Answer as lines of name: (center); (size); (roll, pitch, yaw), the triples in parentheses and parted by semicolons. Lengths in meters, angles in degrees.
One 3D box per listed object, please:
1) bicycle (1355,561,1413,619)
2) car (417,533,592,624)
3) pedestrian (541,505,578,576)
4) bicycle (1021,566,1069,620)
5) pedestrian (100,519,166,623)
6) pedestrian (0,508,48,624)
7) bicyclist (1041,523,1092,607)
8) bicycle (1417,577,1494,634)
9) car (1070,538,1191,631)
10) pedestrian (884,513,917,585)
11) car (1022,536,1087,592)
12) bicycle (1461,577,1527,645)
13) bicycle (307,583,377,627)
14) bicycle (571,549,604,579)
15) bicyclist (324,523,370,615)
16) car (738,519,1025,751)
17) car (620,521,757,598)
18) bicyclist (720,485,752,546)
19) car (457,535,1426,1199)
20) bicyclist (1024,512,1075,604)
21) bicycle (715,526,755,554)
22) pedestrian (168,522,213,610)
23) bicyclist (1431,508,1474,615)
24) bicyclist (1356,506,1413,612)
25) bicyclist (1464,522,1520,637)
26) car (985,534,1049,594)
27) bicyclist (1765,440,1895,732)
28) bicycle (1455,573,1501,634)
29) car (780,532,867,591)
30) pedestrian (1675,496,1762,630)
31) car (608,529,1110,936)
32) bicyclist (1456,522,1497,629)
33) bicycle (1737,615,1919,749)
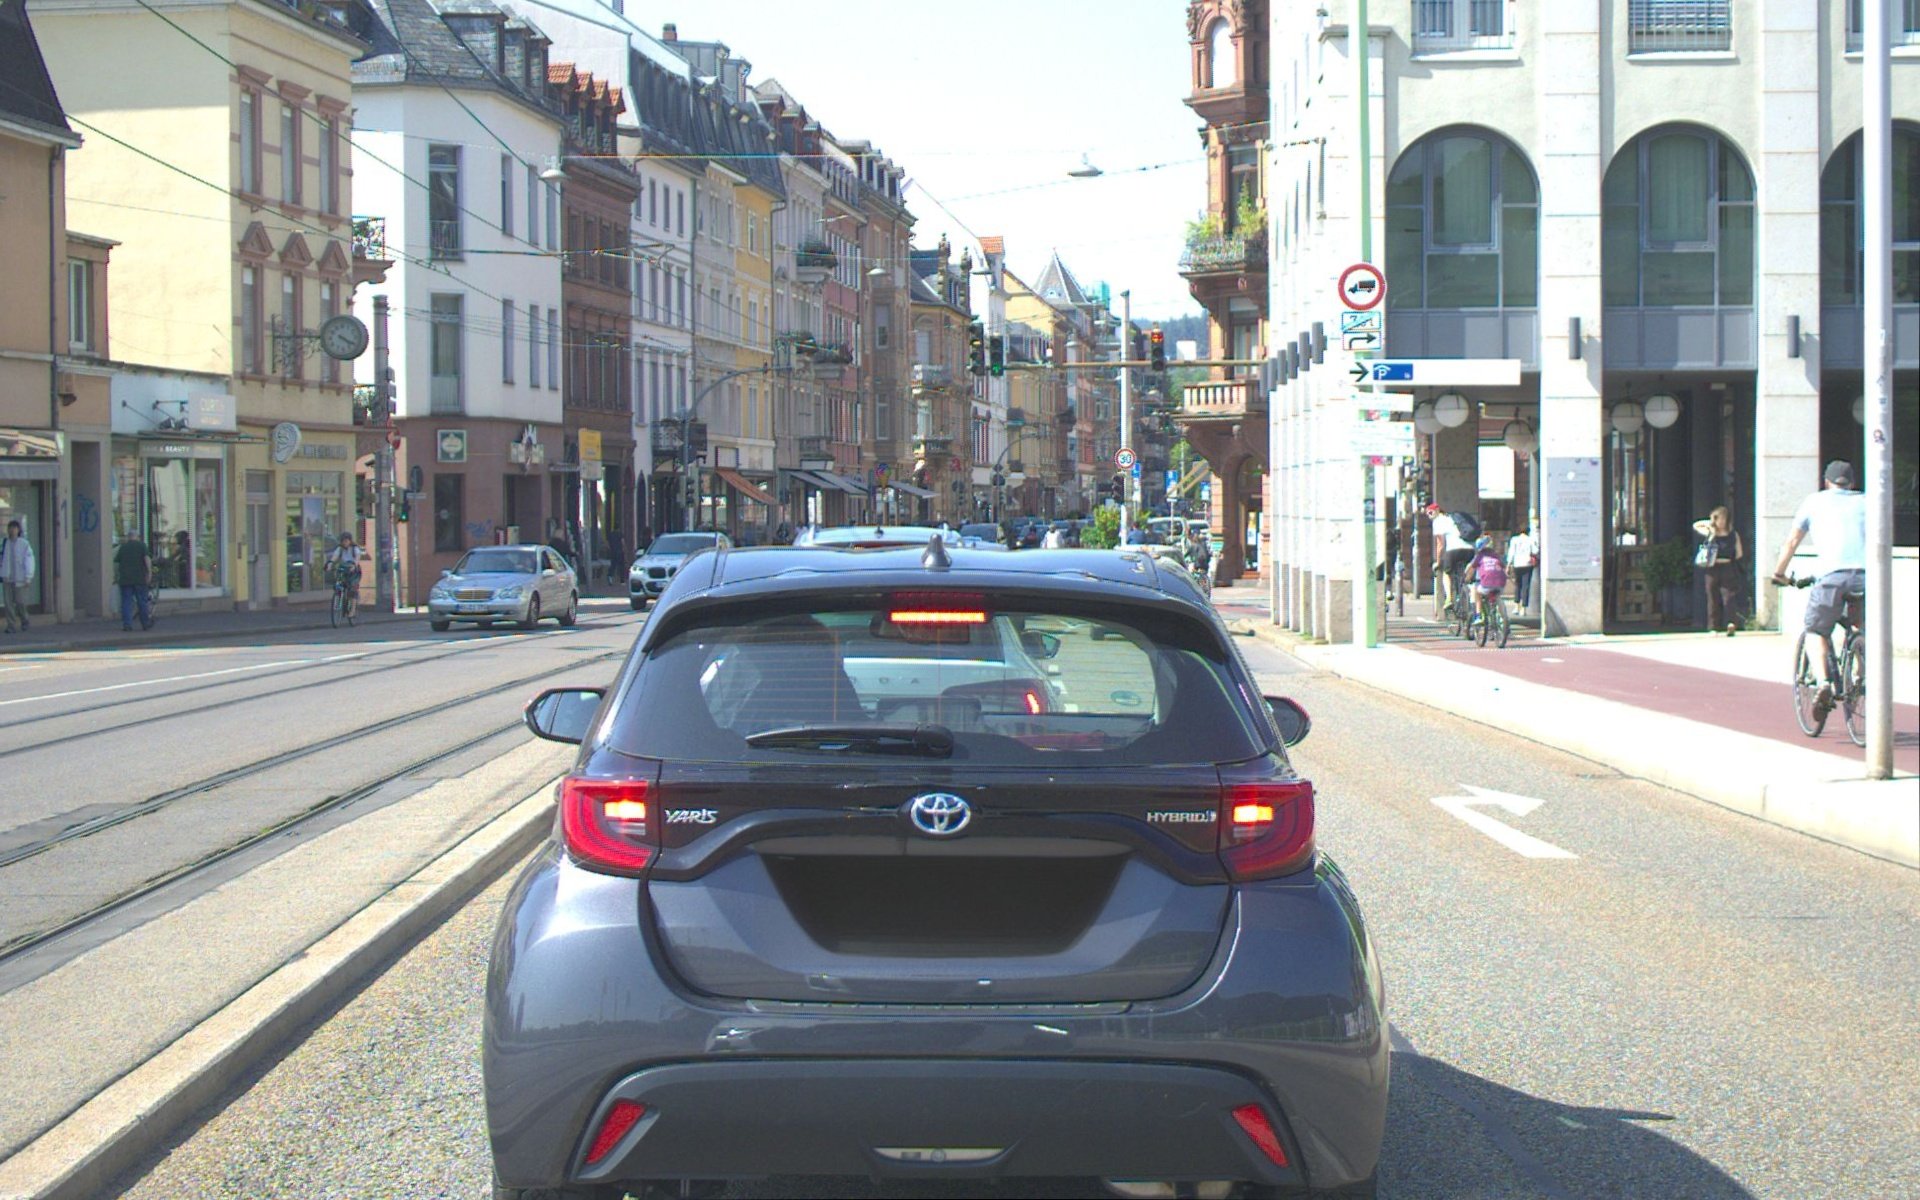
bicycle: (6.965, -0.165, 56.571); (0.704, 0.879, 1.525); (4, 1, 0)
car: (-7.597, -0.387, 57.758); (1.732, 1.455, 4.372); (0, 1, 9)
pedestrian: (-10.231, -1.527, 87.852); (0.736, 1.760, 0.787); (4, 1, 0)
bicycle: (2.435, -0.210, 98.059); (1.112, 1.415, 3.007); (4, 1, 4)
pedestrian: (-13.649, -0.479, 56.746); (0.762, 1.648, 0.711); (4, 1, 6)
pedestrian: (-14.841, -0.537, 53.965); (0.736, 1.760, 0.787); (4, 1, 0)
bicyclist: (3.315, -1.089, 106.804); (1.228, 2.520, 1.104); (4, 1, 11)
bicycle: (6.870, 0.078, 47.680); (0.959, 0.763, 0.417); (-1, 1, 22)
car: (2.826, -0.293, 57.604); (1.705, 1.461, 4.326); (1, 1, -1)
pedestrian: (-2.228, -1.912, 128.398); (1.051, 2.579, 1.501); (4, 1, 0)
car: (3.686, -1.403, 133.499); (1.994, 2.007, 3.999); (4, 1, 8)
bicycle: (6.507, 0.125, 41.953); (0.514, 0.763, 1.661); (-2, 1, 0)
bicycle: (-11.272, 0.084, 62.769); (0.620, 0.713, 2.044); (2, 2, 9)
bicycle: (-9.529, -0.934, 87.971); (0.620, 0.713, 1.771); (4, 1, -1)
bicyclist: (-11.221, -0.577, 62.942); (0.627, 1.644, 0.621); (2, 2, 8)
car: (-0.564, 0.196, 25.077); (1.897, 1.525, 4.000); (1, 1, -1)
car: (-5.764, -0.871, 73.434); (1.994, 1.581, 4.651); (0, 1, 7)
bicyclist: (-6.049, -2.285, 92.862); (0.705, 1.644, 0.621); (2, 2, 8)
car: (-0.070, 0.603, 8.007); (1.720, 1.468, 3.658); (1, 1, -1)
bicyclist: (2.556, -1.193, 97.965); (1.228, 2.520, 1.105); (4, 1, 5)
bicycle: (-6.069, -1.629, 92.856); (0.620, 0.713, 2.044); (2, 2, 9)
pedestrian: (-14.590, -0.641, 65.196); (0.649, 1.596, 0.566); (4, 3, 0)
bicyclist: (6.823, -0.530, 47.671); (0.442, 1.461, 0.484); (-2, 1, 22)
bicyclist: (6.987, -0.677, 56.570); (0.701, 1.689, 0.924); (4, 1, 0)
bicyclist: (6.489, -0.253, 41.941); (0.534, 1.378, 0.669); (-2, 1, -1)
car: (1.989, -1.233, 119.104); (1.994, 2.007, 3.999); (1, 0, 4)
bicyclist: (5.516, -0.095, 21.822); (0.586, 1.814, 0.702); (-1, 1, -3)
bicycle: (6.784, 0.036, 45.052); (0.416, 0.763, 0.962); (-2, 1, 0)
car: (-3.642, -1.049, 92.628); (1.794, 1.540, 3.920); (0, 1, 6)
pedestrian: (9.548, -0.470, 43.331); (0.739, 1.609, 1.016); (4, 1, -1)
car: (-0.425, 0.468, 15.164); (1.897, 1.525, 4.000); (1, 1, -1)
bicyclist: (6.767, -0.321, 45.038); (0.422, 1.378, 0.443); (-2, 1, -1)
bicycle: (5.520, 0.504, 21.931); (0.593, 0.763, 1.867); (-1, 1, -3)
